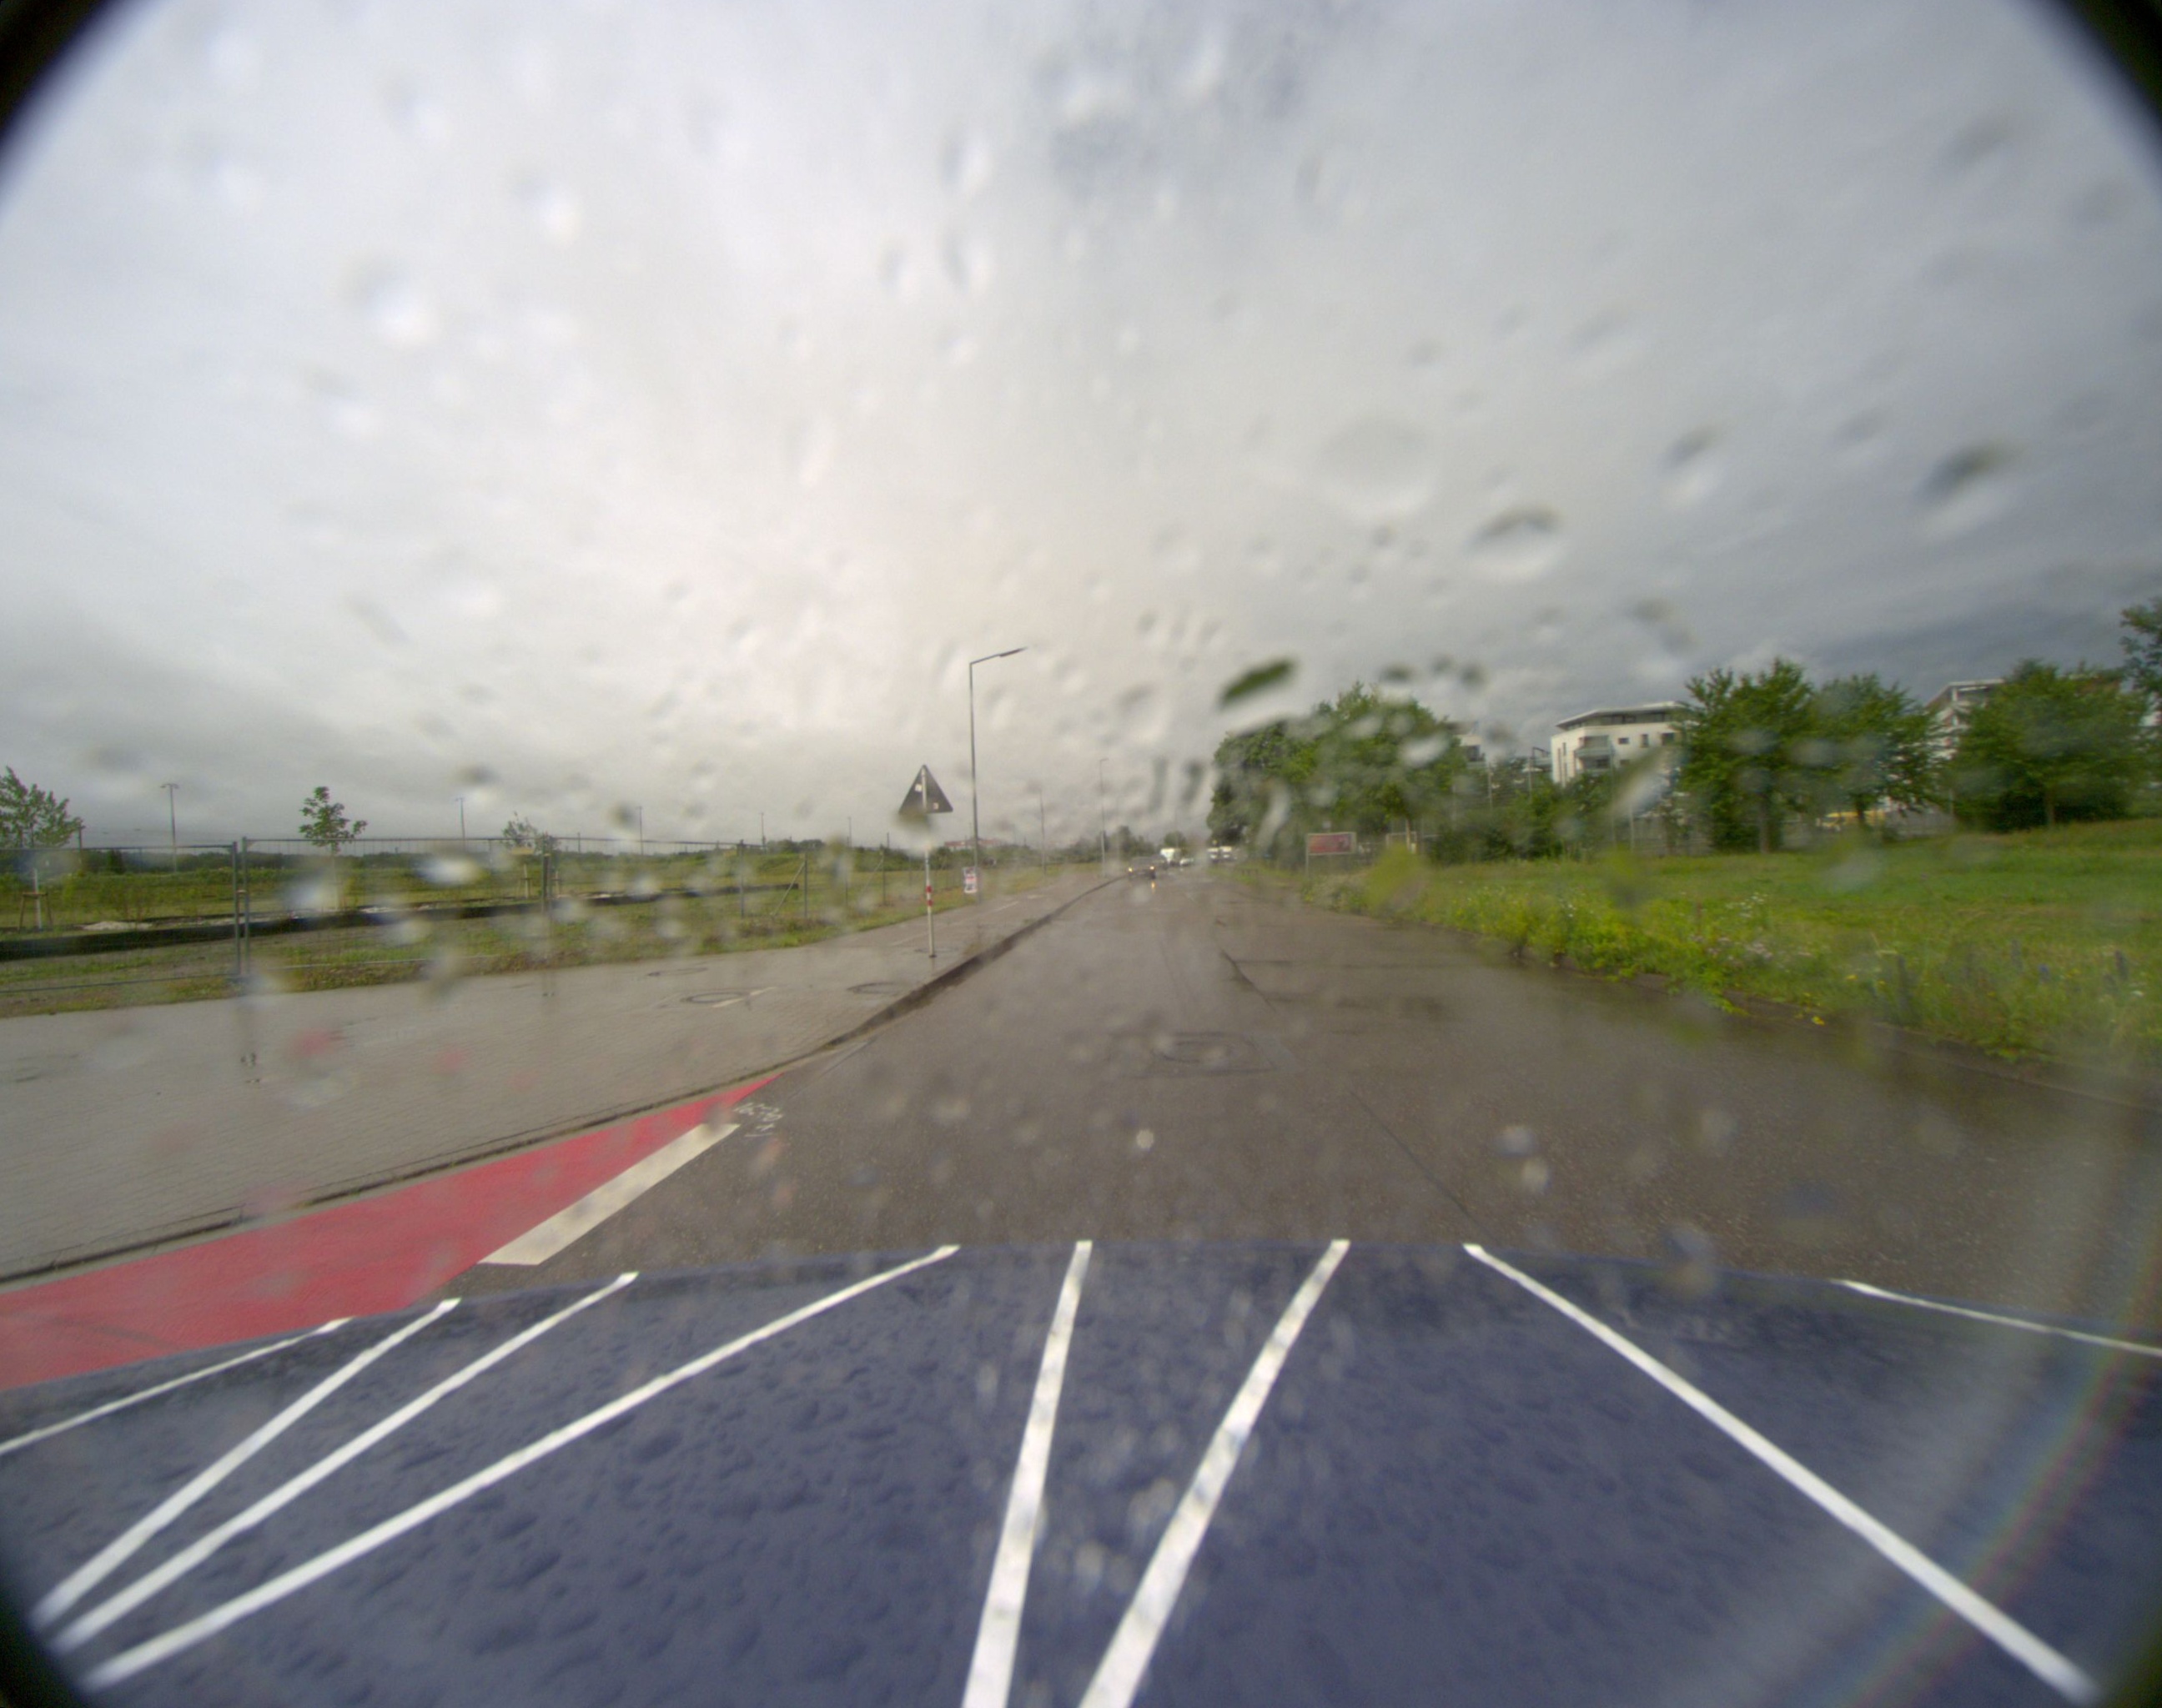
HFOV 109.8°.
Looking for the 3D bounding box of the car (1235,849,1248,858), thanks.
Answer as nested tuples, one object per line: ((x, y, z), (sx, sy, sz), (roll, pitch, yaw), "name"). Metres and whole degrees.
((29.257, -0.024, 138.453), (1.839, 1.510, 4.363), (-2, 0, 18), "car")

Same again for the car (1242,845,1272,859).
((25.283, -0.325, 109.069), (3.815, 1.623, 1.757), (-6, -1, 23), "car")

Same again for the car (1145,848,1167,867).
((7.639, 0.368, 76.976), (2.009, 1.695, 4.331), (-5, 0, 6), "car")

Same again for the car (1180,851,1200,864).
((14.390, 0.408, 99.888), (1.839, 1.510, 4.363), (-2, 0, 18), "car")

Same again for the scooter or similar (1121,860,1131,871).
((5.105, 1.264, 86.272), (0.491, 1.208, 1.342), (-2, 0, 29), "scooter or similar")

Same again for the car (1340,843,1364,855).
((34.774, -0.678, 97.579), (1.687, 1.388, 4.129), (-5, 1, 3), "car")

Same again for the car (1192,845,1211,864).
((18.830, 0.102, 118.474), (2.146, 2.867, 5.283), (0, 1, 19), "car")

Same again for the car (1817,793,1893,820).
((94.478, -5.740, 92.813), (6.632, 2.599, 1.967), (-5, 1, 8), "car")

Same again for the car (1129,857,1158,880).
((4.207, 0.961, 51.038), (1.873, 1.510, 4.359), (0, 0, 5), "car")

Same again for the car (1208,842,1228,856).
((24.109, -0.870, 133.848), (2.070, 2.514, 6.667), (-1, 0, 22), "car")

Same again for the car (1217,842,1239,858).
((27.976, -0.743, 144.415), (2.473, 2.939, 6.897), (-1, 0, 23), "car")

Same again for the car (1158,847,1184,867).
((12.118, 0.341, 101.784), (2.094, 2.458, 5.955), (-1, 1, 21), "car")
